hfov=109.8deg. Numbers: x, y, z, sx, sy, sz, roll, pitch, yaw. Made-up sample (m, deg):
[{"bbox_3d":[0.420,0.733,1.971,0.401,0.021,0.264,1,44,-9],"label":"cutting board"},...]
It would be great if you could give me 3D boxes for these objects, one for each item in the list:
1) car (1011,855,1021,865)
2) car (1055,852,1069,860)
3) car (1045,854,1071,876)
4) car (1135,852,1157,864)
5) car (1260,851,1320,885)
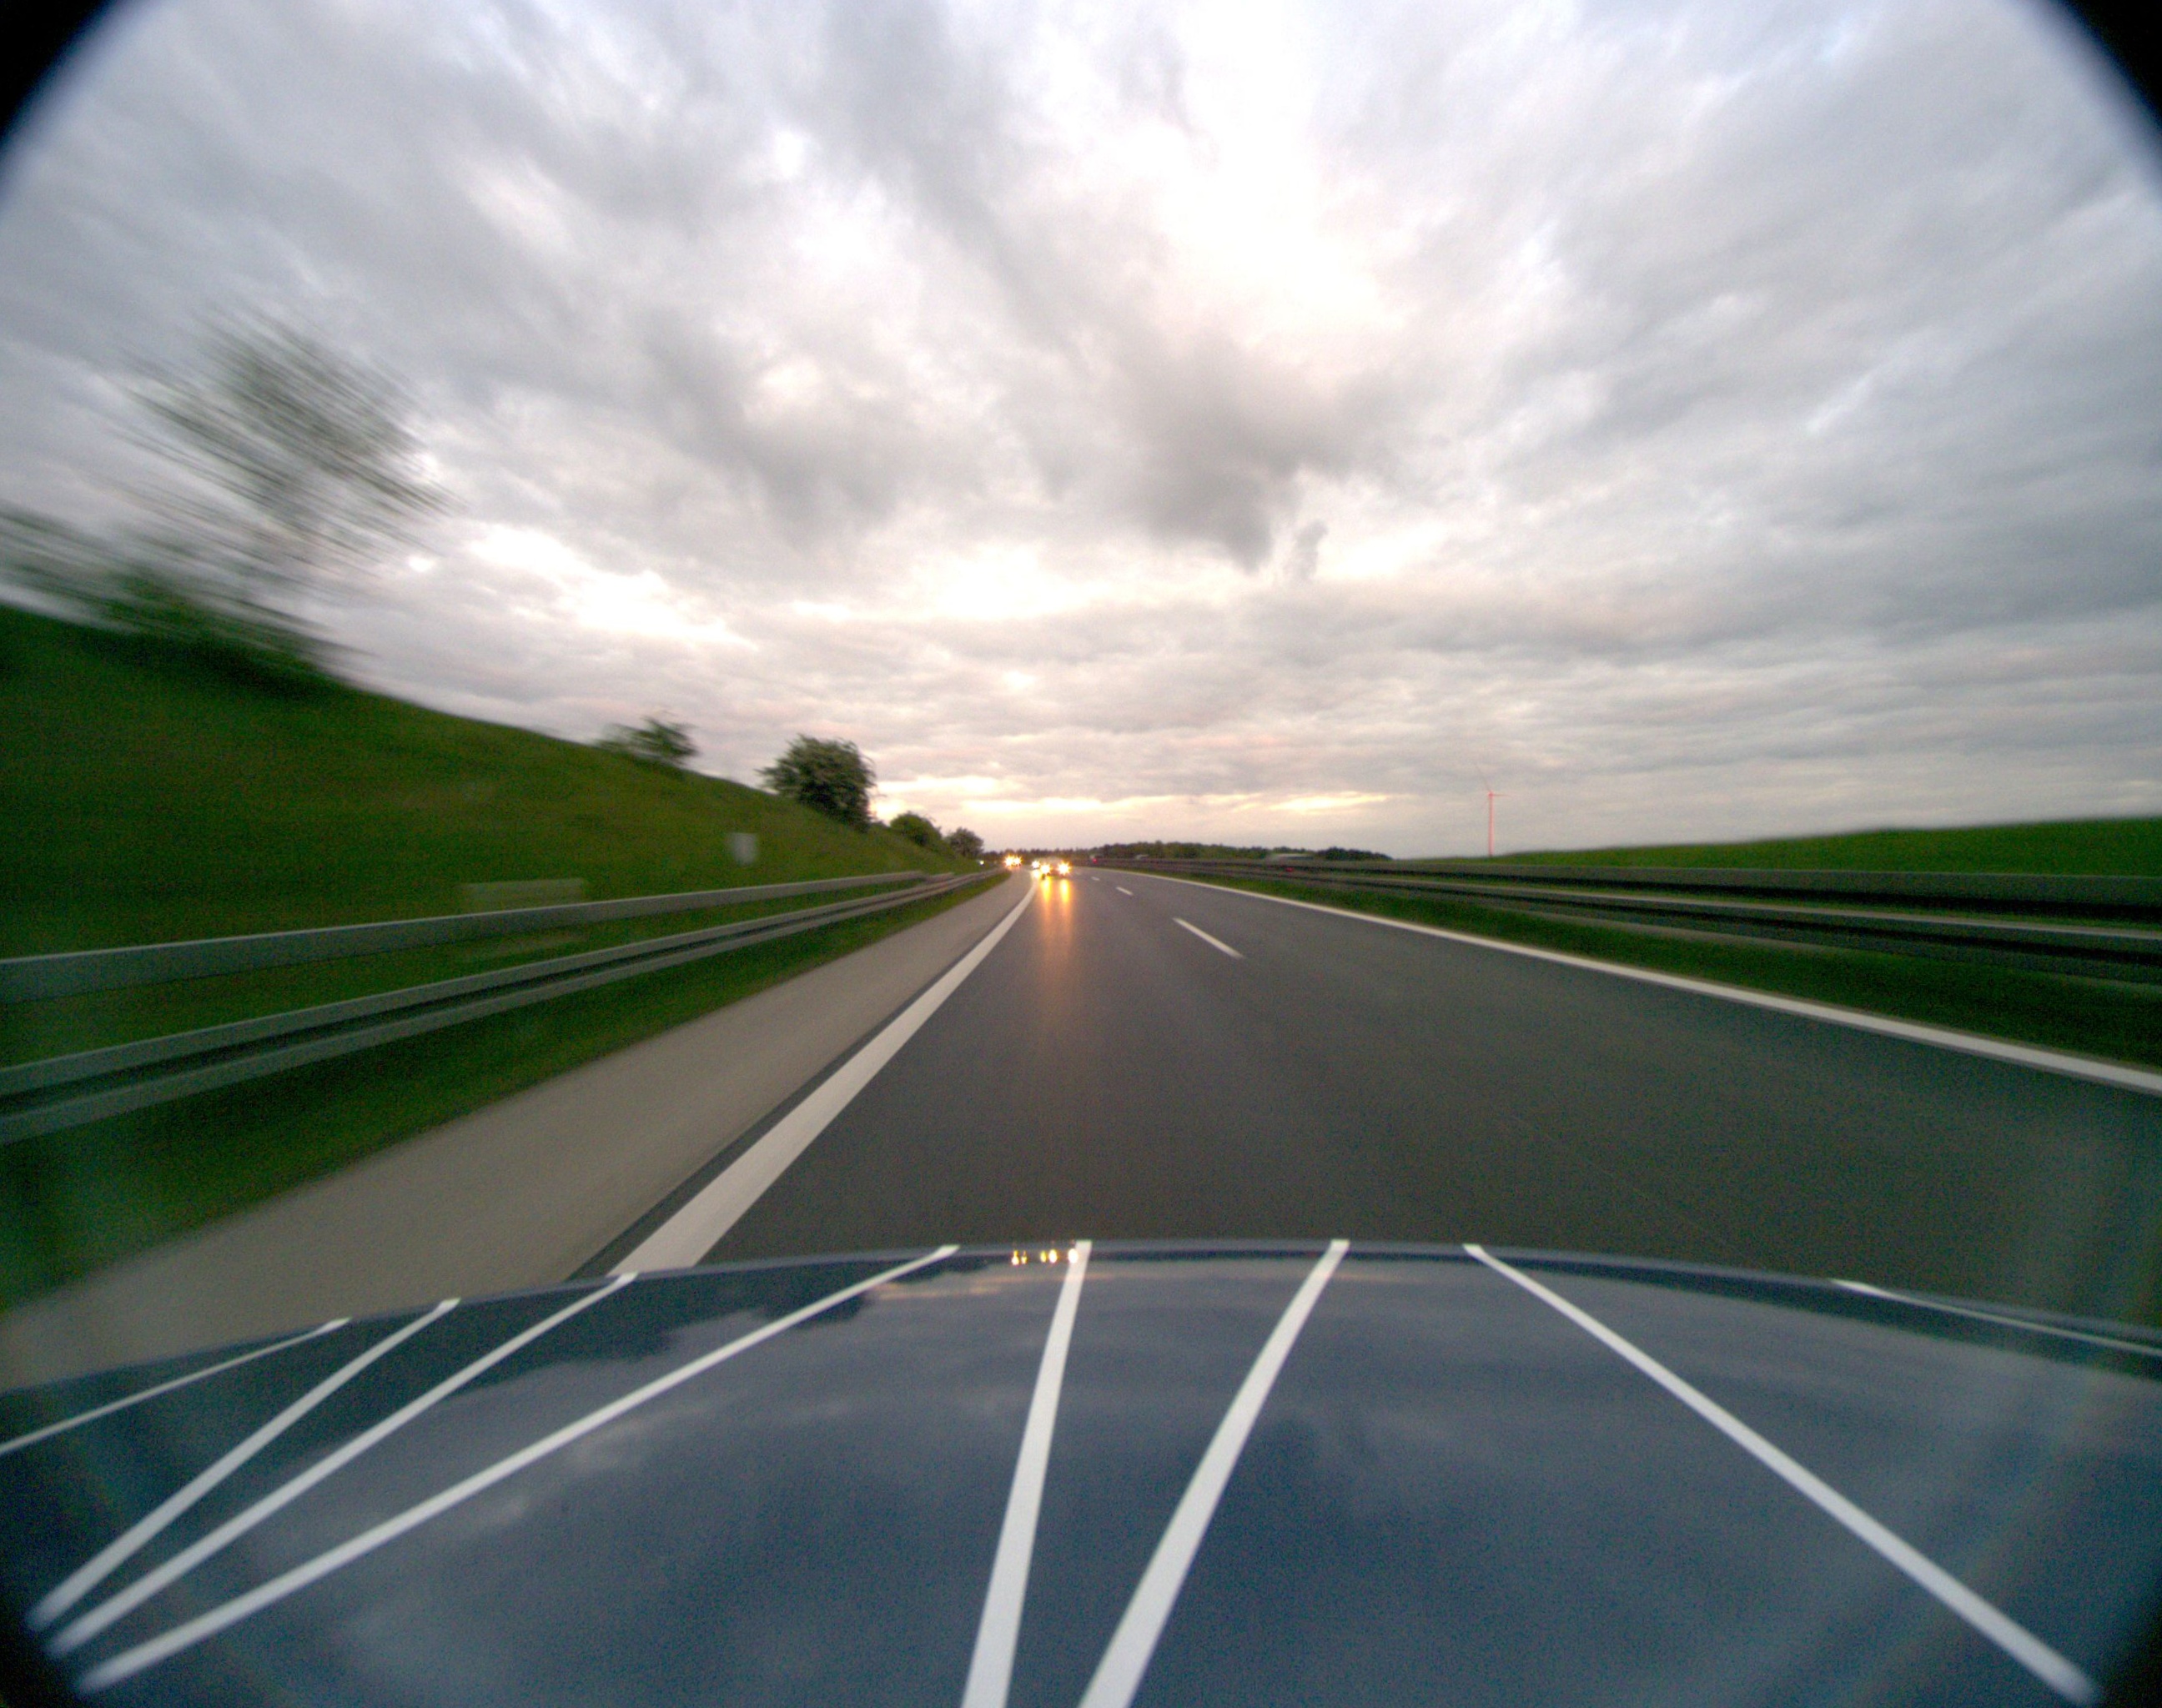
[{"bbox_3d":[-12.602,1.161,147.579,1.920,1.827,3.998,0,-1,-6],"label":"car"},{"bbox_3d":[-4.870,0.526,193.638,2.290,2.002,5.251,-1,1,-14],"label":"car"},{"bbox_3d":[-1.692,0.781,54.669,1.682,1.504,3.998,-1,0,-4],"label":"car"},{"bbox_3d":[9.266,0.542,109.224,2.032,1.650,4.667,-1,0,-9],"label":"car"},{"bbox_3d":[11.380,0.710,41.752,1.780,1.705,4.636,-2,0,-3],"label":"car"}]
